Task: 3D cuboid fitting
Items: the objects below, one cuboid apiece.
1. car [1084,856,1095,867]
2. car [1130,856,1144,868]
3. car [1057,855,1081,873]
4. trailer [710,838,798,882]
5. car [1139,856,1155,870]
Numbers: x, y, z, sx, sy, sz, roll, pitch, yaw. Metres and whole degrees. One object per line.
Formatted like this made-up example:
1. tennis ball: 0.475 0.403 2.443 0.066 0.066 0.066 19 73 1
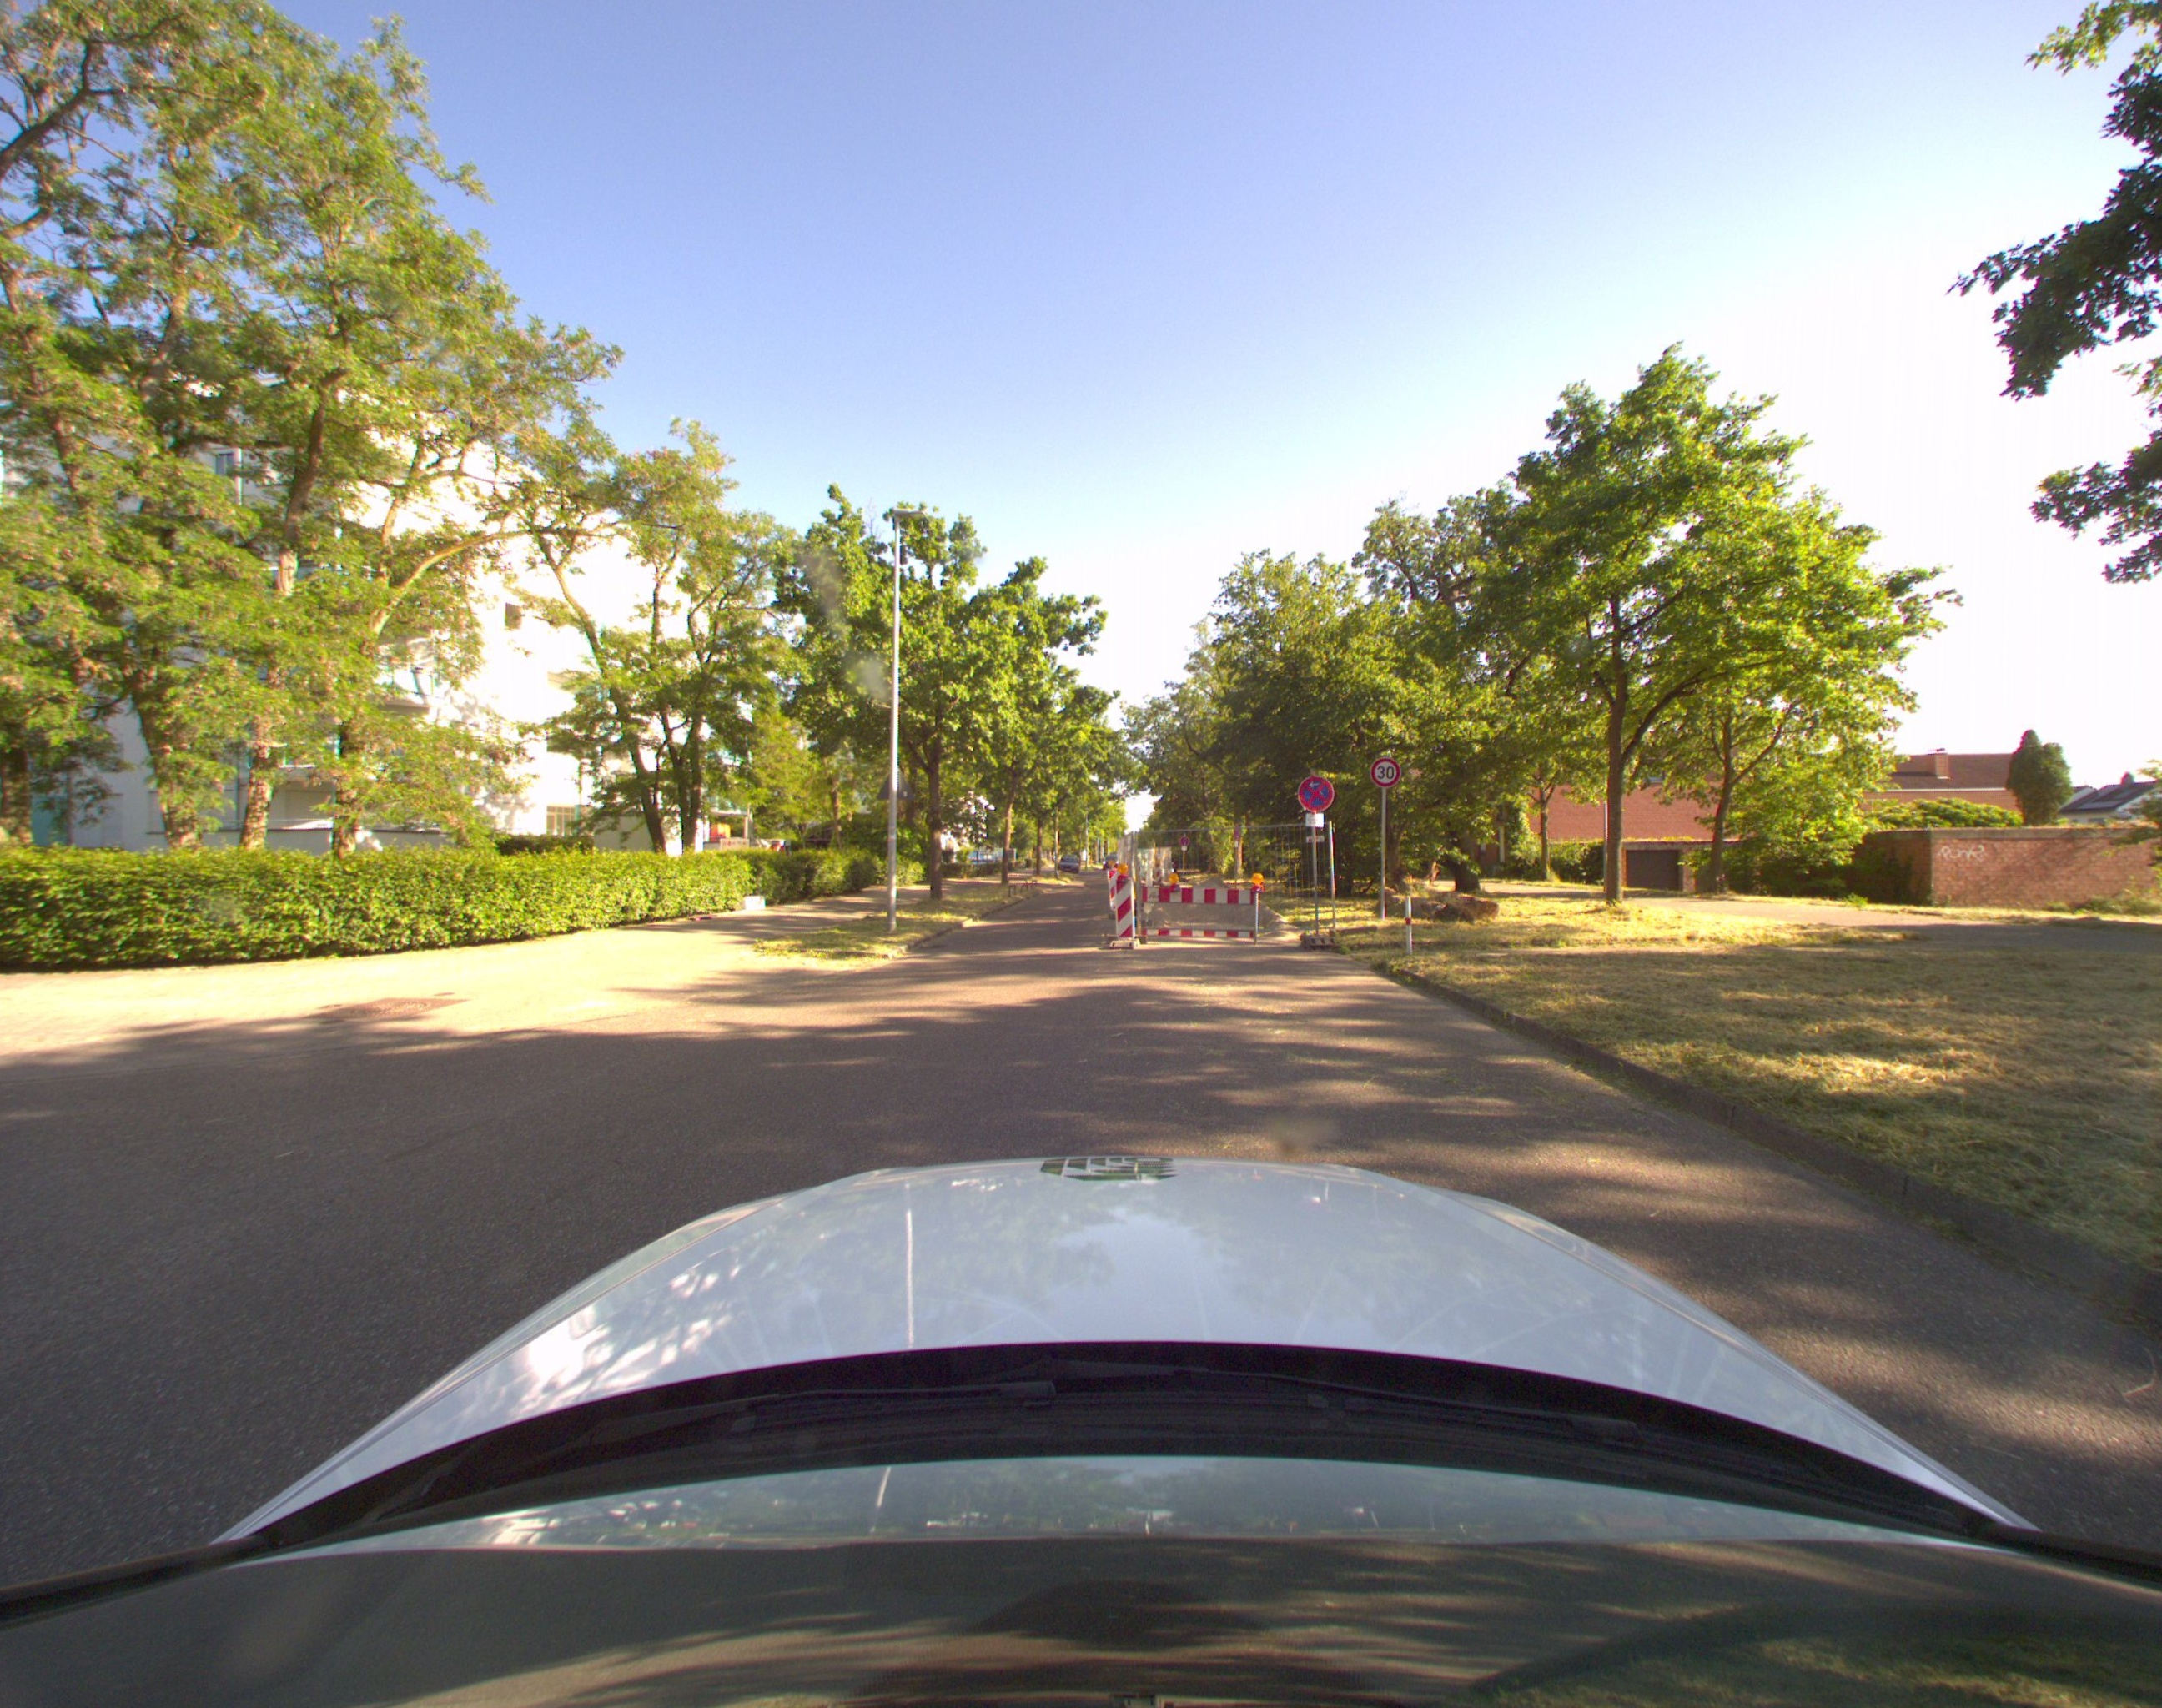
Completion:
1. car: 1.060 0.995 104.117 1.356 1.302 3.482 1 -1 1
2. car: 6.248 0.890 91.290 1.356 1.302 3.482 1 -1 1
3. car: -0.980 0.846 68.862 1.744 1.478 3.838 0 0 2
4. trailer: -16.037 0.292 40.232 1.964 2.042 4.442 0 0 10
5. car: 6.321 0.845 78.293 1.356 1.302 3.482 1 -1 1
